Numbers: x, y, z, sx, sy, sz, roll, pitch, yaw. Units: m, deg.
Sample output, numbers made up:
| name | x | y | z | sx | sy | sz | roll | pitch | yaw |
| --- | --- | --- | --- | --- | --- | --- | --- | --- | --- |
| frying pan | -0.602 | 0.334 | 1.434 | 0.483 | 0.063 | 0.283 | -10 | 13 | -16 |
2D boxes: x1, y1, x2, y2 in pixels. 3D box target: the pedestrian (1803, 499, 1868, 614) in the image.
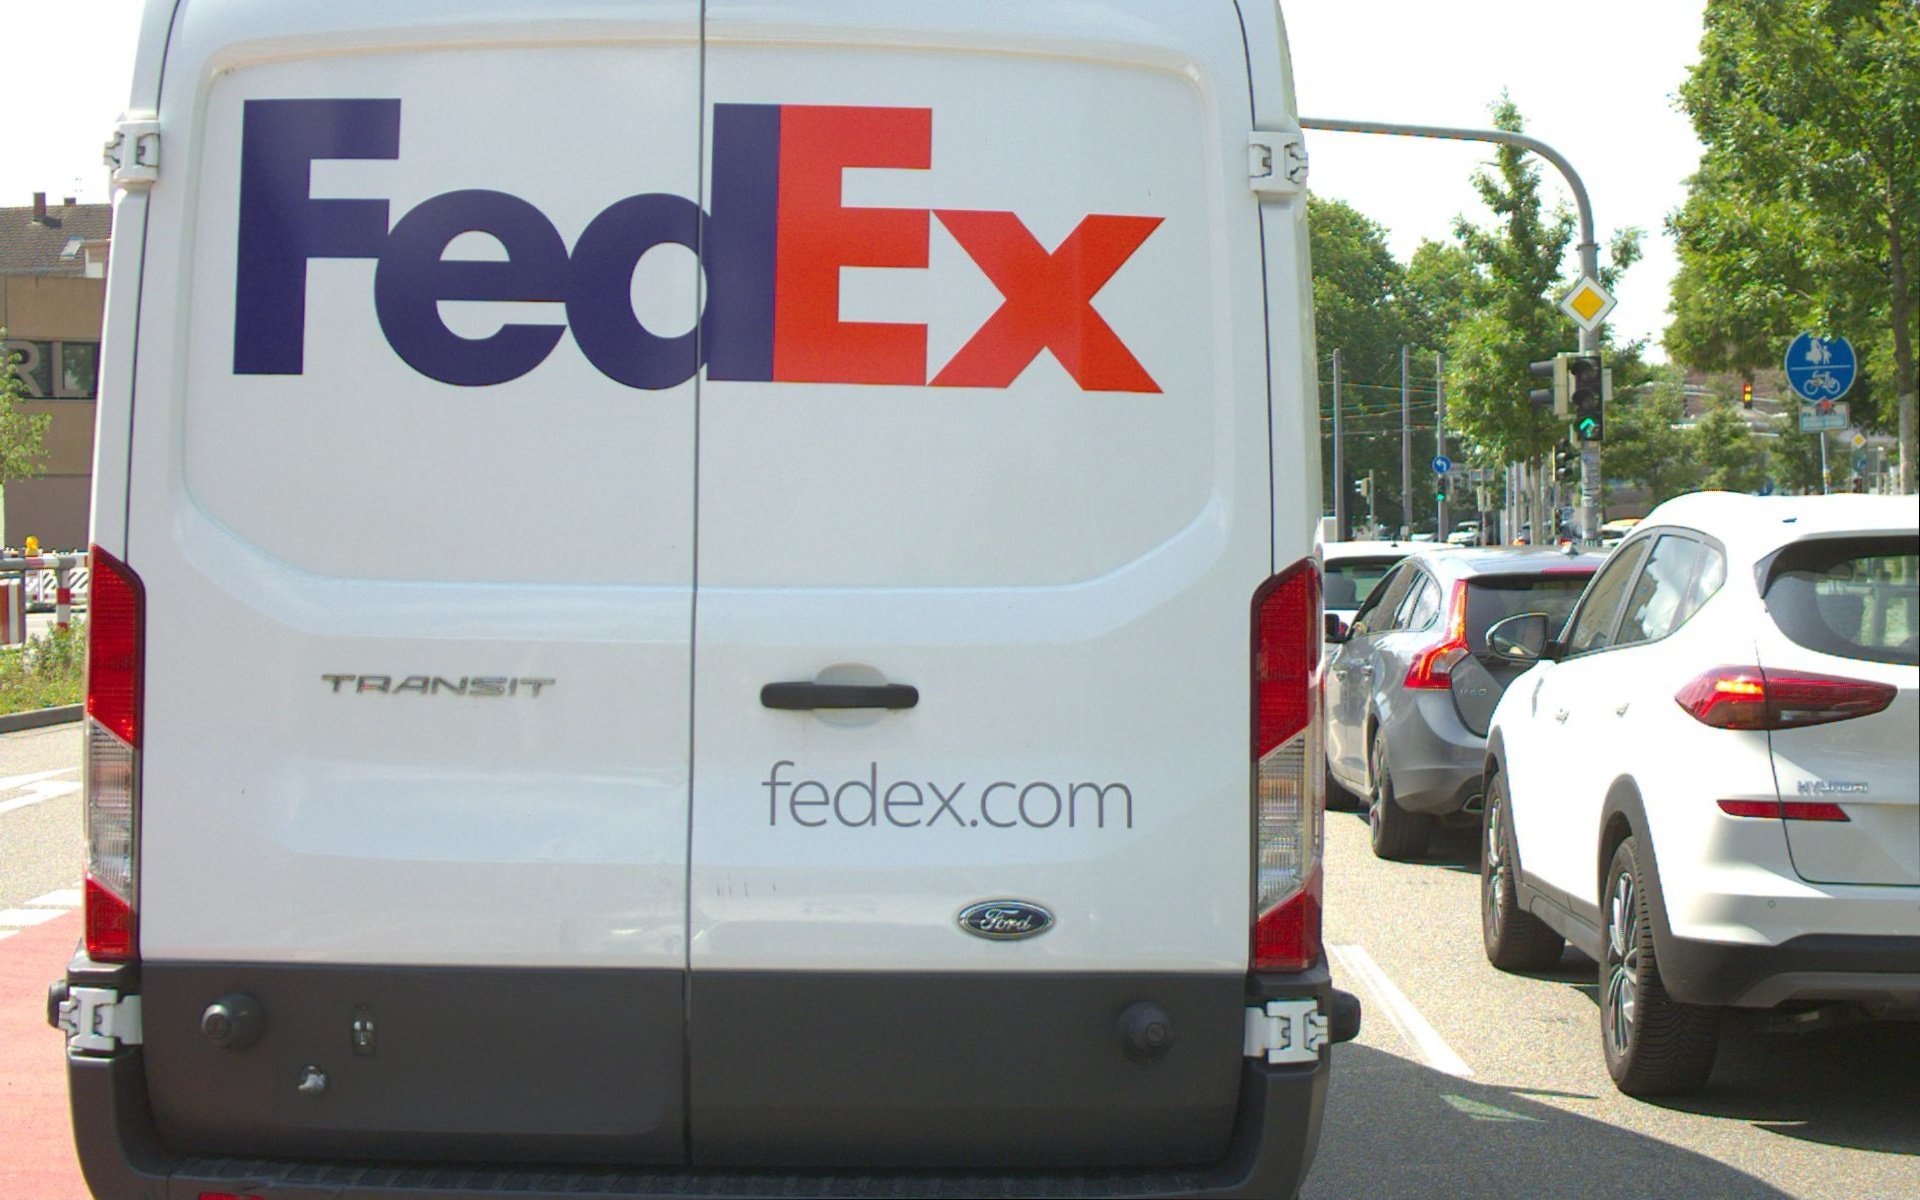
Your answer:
| name | x | y | z | sx | sy | sz | roll | pitch | yaw |
| --- | --- | --- | --- | --- | --- | --- | --- | --- | --- |
| pedestrian | 14.277 | -0.712 | 56.068 | 0.758 | 1.843 | 0.816 | -1 | 1 | -10 |

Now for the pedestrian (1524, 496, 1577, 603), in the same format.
| name | x | y | z | sx | sy | sz | roll | pitch | yaw |
| --- | --- | --- | --- | --- | --- | --- | --- | --- | --- |
| pedestrian | 10.273 | -0.888 | 59.868 | 0.813 | 1.843 | 0.761 | 0 | 1 | 3 |

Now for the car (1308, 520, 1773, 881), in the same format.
| name | x | y | z | sx | sy | sz | roll | pitch | yaw |
| --- | --- | --- | --- | --- | --- | --- | --- | --- | --- |
| car | 2.706 | 0.396 | 16.778 | 1.691 | 1.543 | 3.720 | 0 | 1 | 1 |

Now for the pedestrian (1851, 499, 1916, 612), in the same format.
| name | x | y | z | sx | sy | sz | roll | pitch | yaw |
| --- | --- | --- | --- | --- | --- | --- | --- | --- | --- |
| pedestrian | 15.144 | -0.736 | 56.370 | 0.758 | 1.843 | 0.816 | -1 | 1 | -8 |

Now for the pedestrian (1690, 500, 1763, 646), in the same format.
| name | x | y | z | sx | sy | sz | roll | pitch | yaw |
| --- | --- | --- | --- | --- | --- | --- | --- | --- | --- |
| pedestrian | 9.827 | -0.352 | 44.091 | 0.759 | 1.843 | 0.816 | -1 | 1 | 1 |

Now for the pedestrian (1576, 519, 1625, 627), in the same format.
| name | x | y | z | sx | sy | sz | roll | pitch | yaw |
| --- | --- | --- | --- | --- | --- | --- | --- | --- | --- |
| pedestrian | 11.000 | -0.468 | 59.052 | 0.759 | 1.843 | 0.816 | 0 | 1 | 15 |

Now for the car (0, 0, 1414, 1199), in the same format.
| name | x | y | z | sx | sy | sz | roll | pitch | yaw |
| --- | --- | --- | --- | --- | --- | --- | --- | --- | --- |
| car | -0.352 | 0.069 | 7.170 | 2.072 | 2.572 | 4.428 | 0 | 1 | 1 |

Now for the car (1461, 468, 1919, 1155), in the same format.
| name | x | y | z | sx | sy | sz | roll | pitch | yaw |
| --- | --- | --- | --- | --- | --- | --- | --- | --- | --- |
| car | 2.678 | 0.462 | 10.350 | 1.814 | 1.673 | 3.974 | 0 | 1 | 1 |

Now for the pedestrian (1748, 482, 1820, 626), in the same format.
| name | x | y | z | sx | sy | sz | roll | pitch | yaw |
| --- | --- | --- | --- | --- | --- | --- | --- | --- | --- |
| pedestrian | 10.666 | -0.600 | 44.515 | 0.759 | 1.843 | 0.816 | -1 | 1 | 3 |

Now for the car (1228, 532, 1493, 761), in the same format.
| name | x | y | z | sx | sy | sz | roll | pitch | yaw |
| --- | --- | --- | --- | --- | --- | --- | --- | --- | --- |
| car | 2.735 | 0.268 | 24.046 | 1.499 | 1.459 | 3.474 | 0 | 1 | 1 |
